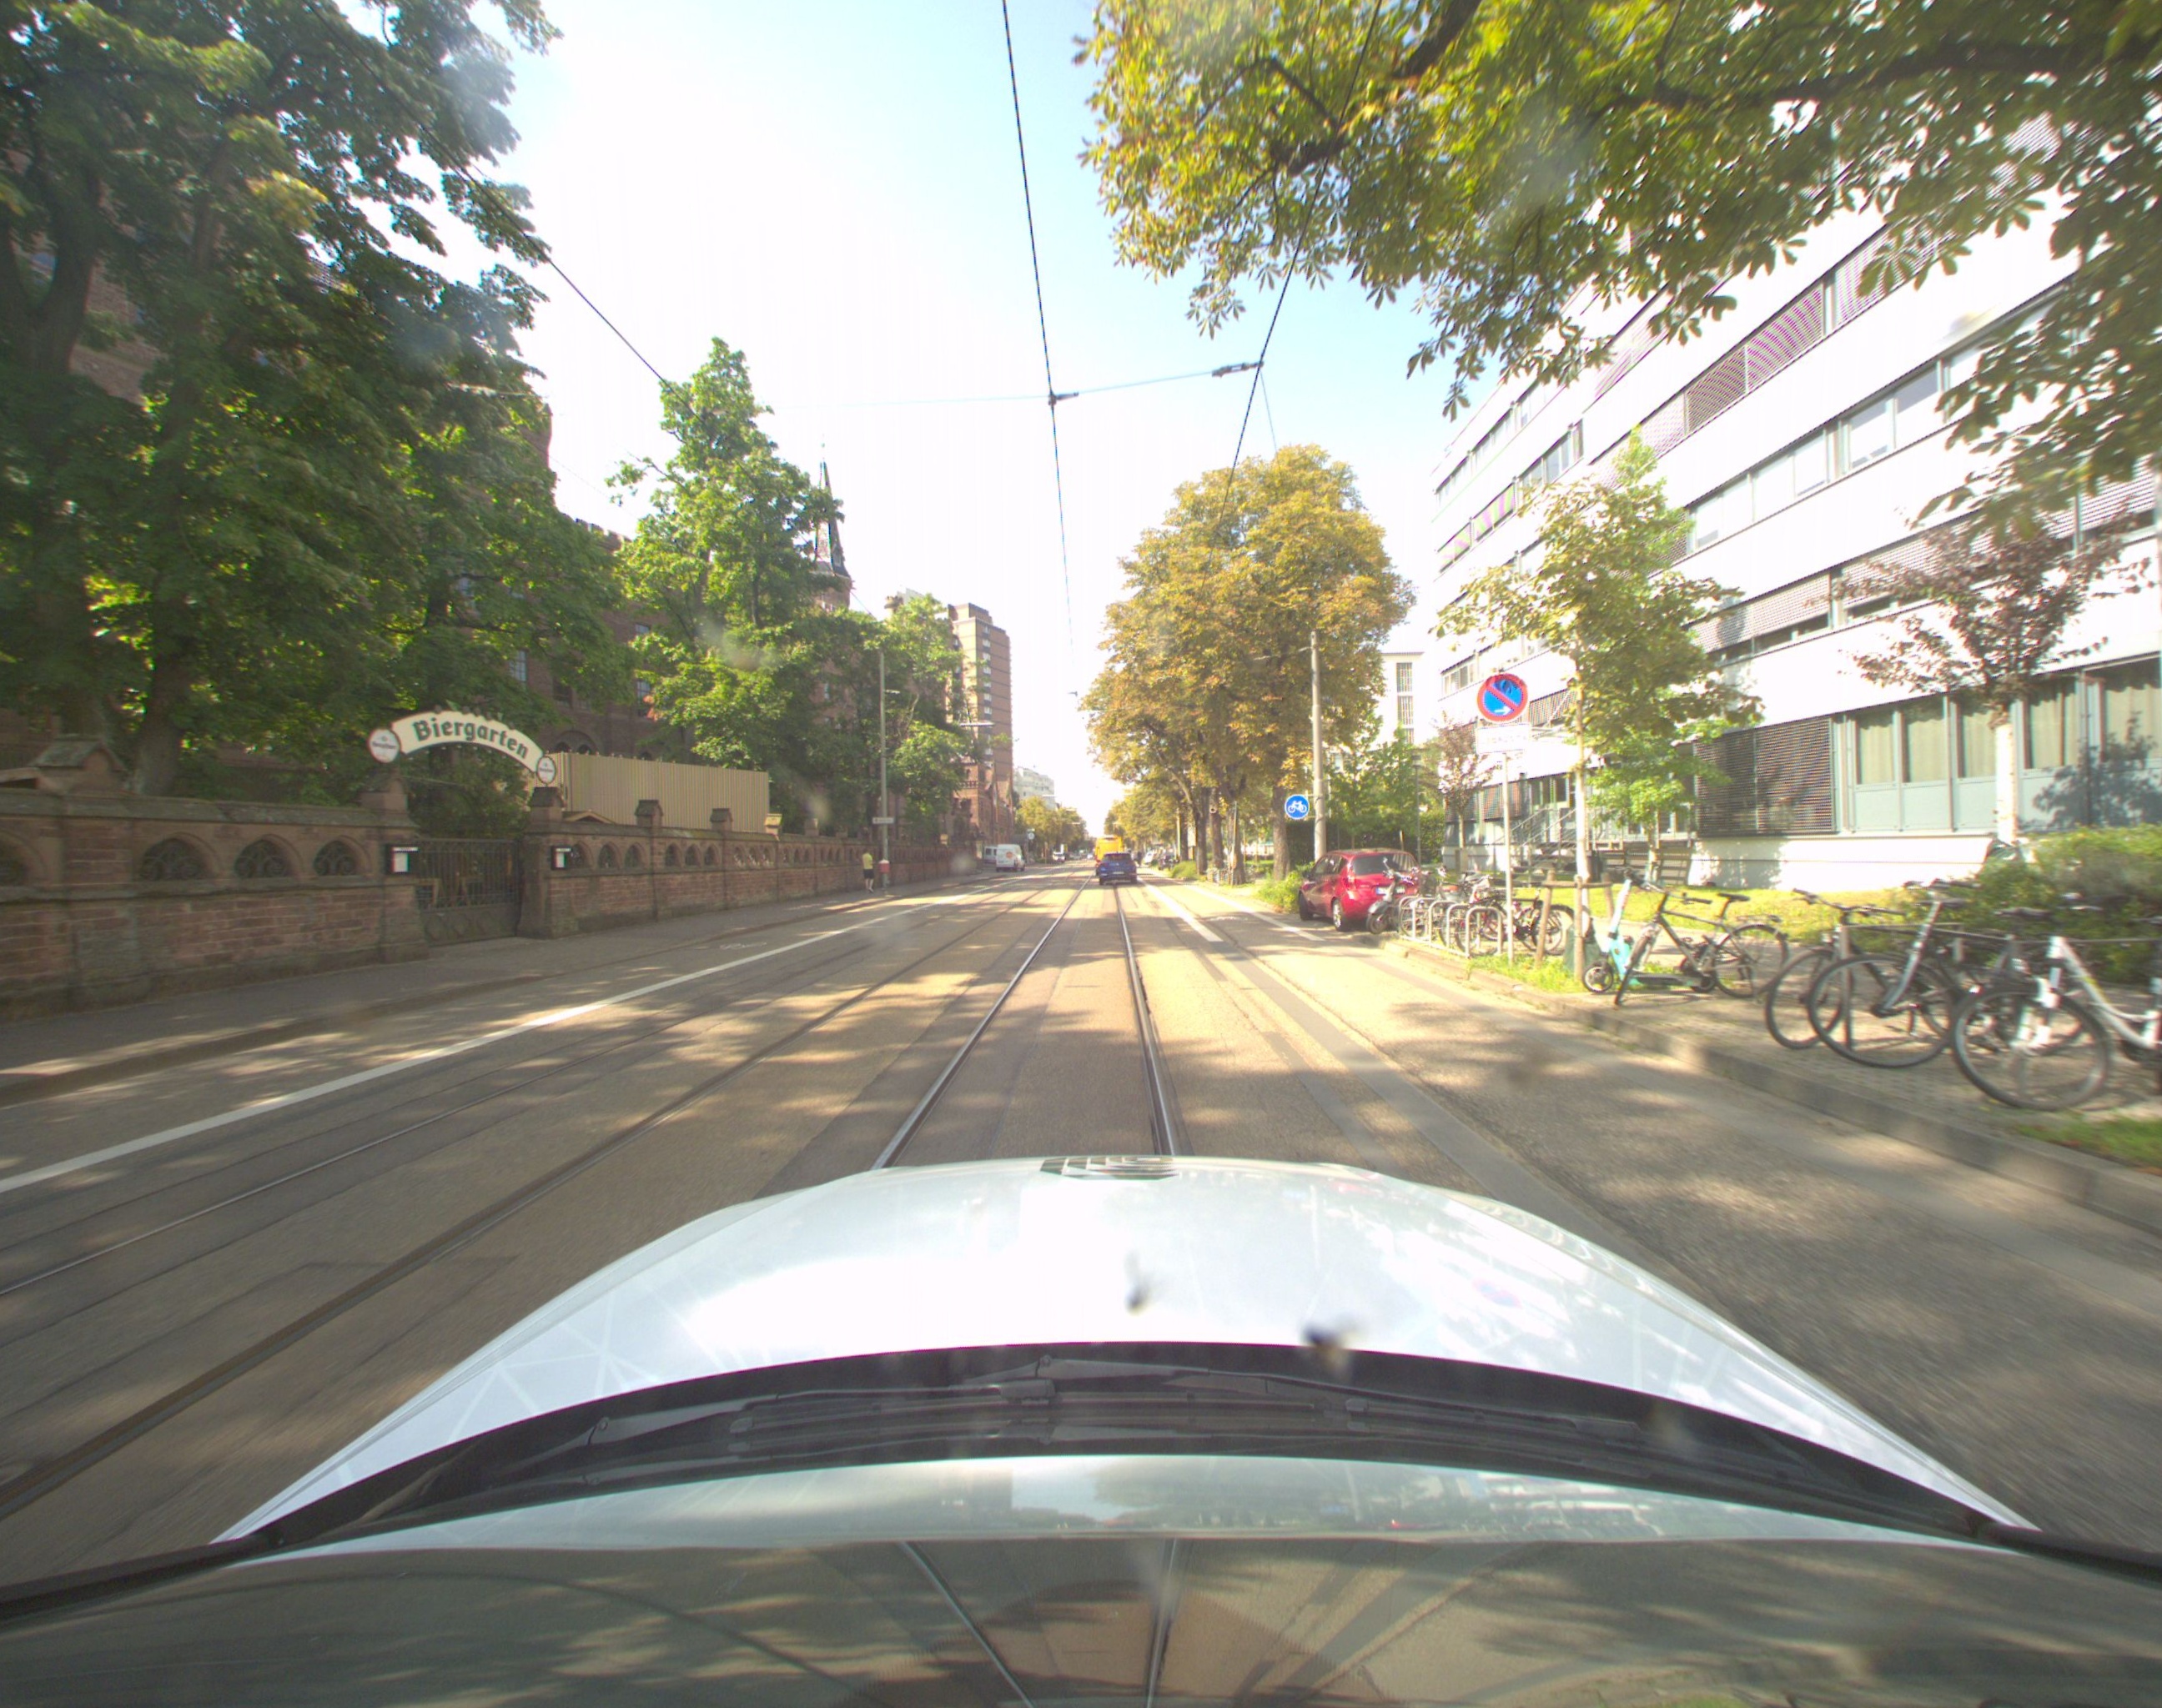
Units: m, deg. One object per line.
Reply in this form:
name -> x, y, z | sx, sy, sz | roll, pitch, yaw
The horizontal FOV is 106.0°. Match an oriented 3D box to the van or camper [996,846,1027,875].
van or camper -> -6.622, 0.599, 78.118 | 2.104, 2.675, 5.960 | -1, 0, 3

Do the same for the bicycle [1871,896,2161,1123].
bicycle -> 5.503, 0.816, 4.473 | 1.765, 1.071, 0.541 | -2, 0, 0

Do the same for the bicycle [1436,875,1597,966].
bicycle -> 5.626, 0.846, 10.573 | 1.765, 1.071, 0.541 | -2, 0, 0

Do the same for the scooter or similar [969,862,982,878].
scooter or similar -> -8.045, 1.239, 62.269 | 0.336, 1.178, 1.185 | -1, -1, 27

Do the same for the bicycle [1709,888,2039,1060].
bicycle -> 5.563, 0.822, 5.769 | 1.765, 1.071, 0.541 | -2, 0, 0

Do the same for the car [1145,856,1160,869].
car -> 8.693, 0.985, 99.366 | 1.653, 1.481, 4.219 | -2, -1, 2

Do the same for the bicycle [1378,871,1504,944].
bicycle -> 5.793, 0.856, 13.159 | 1.765, 1.071, 0.541 | -2, 0, 0

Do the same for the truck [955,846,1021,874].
truck -> -9.423, 0.588, 83.035 | 6.288, 2.538, 2.135 | 2, 1, 6

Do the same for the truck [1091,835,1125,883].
truck -> 1.906, 0.358, 57.529 | 2.127, 3.124, 6.087 | -2, 0, 2

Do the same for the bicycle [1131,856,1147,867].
bicycle -> 5.890, 0.752, 82.896 | 1.396, 1.134, 4.002 | -1, 0, 2

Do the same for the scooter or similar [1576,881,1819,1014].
scooter or similar -> 5.561, 0.830, 7.402 | 1.765, 1.071, 0.541 | -2, 0, 0

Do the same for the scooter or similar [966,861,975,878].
scooter or similar -> -7.867, 1.123, 57.961 | 0.421, 1.178, 1.310 | -1, 0, -14

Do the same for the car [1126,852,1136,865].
car -> 11.210, 0.998, 183.605 | 1.986, 2.755, 5.762 | -1, 0, 1

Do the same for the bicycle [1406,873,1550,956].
bicycle -> 5.664, 0.851, 11.675 | 1.765, 1.071, 0.541 | -2, 0, 0

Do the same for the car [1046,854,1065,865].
car -> -4.584, 1.024, 146.601 | 1.757, 1.796, 3.964 | -1, -1, -27

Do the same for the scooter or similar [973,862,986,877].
scooter or similar -> -8.037, 1.251, 64.576 | 0.336, 1.178, 1.185 | -1, -1, 27

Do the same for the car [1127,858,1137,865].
car -> 10.857, 1.547, 173.007 | 1.901, 1.431, 4.293 | -1, 0, 1

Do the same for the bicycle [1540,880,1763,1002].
bicycle -> 5.561, 0.833, 7.990 | 1.765, 1.071, 0.541 | -2, 0, 0

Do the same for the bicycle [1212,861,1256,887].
bicycle -> 6.535, 0.846, 34.874 | 1.765, 1.050, 0.541 | -2, 0, 0

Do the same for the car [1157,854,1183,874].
car -> 7.445, 0.830, 68.494 | 1.750, 1.515, 4.609 | -3, 0, 1

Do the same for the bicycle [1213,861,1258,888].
bicycle -> 6.467, 0.844, 34.197 | 1.765, 1.050, 0.541 | -2, 0, 0

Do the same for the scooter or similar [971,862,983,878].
scooter or similar -> -8.093, 1.246, 63.443 | 0.336, 1.178, 1.185 | -1, -1, 27

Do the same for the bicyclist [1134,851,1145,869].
bicyclist -> 5.922, 0.578, 82.898 | 1.028, 1.812, 1.016 | -1, -1, 1

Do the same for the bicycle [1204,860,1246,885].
bicycle -> 6.602, 0.858, 37.353 | 1.765, 1.050, 0.541 | -2, 0, 0

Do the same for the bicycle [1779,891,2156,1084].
bicycle -> 5.586, 0.818, 5.189 | 1.765, 1.071, 0.541 | -2, 0, 0

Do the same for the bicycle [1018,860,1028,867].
bicycle -> -8.948, 1.430, 126.004 | 1.447, 1.093, 0.399 | 2, -1, -3

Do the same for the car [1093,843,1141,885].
car -> 1.748, 0.469, 39.954 | 2.127, 1.858, 5.571 | -2, 0, 2

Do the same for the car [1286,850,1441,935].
car -> 5.565, 0.692, 16.636 | 1.749, 1.462, 4.276 | -2, 0, 2

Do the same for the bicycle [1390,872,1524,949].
bicycle -> 5.743, 0.853, 12.485 | 1.765, 1.071, 0.541 | -2, 0, 0

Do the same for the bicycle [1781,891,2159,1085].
bicycle -> 5.574, 0.818, 5.167 | 1.765, 1.071, 0.541 | -2, 0, 0

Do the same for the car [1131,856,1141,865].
car -> 10.262, 1.271, 152.488 | 1.734, 1.668, 4.362 | -1, 0, 1

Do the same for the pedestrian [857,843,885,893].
pedestrian -> -8.651, 0.588, 33.562 | 0.861, 2.014, 0.983 | -1, -1, 0

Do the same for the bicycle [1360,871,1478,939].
bicycle -> 5.759, 0.861, 13.934 | 1.765, 1.071, 0.541 | -2, 0, 0
